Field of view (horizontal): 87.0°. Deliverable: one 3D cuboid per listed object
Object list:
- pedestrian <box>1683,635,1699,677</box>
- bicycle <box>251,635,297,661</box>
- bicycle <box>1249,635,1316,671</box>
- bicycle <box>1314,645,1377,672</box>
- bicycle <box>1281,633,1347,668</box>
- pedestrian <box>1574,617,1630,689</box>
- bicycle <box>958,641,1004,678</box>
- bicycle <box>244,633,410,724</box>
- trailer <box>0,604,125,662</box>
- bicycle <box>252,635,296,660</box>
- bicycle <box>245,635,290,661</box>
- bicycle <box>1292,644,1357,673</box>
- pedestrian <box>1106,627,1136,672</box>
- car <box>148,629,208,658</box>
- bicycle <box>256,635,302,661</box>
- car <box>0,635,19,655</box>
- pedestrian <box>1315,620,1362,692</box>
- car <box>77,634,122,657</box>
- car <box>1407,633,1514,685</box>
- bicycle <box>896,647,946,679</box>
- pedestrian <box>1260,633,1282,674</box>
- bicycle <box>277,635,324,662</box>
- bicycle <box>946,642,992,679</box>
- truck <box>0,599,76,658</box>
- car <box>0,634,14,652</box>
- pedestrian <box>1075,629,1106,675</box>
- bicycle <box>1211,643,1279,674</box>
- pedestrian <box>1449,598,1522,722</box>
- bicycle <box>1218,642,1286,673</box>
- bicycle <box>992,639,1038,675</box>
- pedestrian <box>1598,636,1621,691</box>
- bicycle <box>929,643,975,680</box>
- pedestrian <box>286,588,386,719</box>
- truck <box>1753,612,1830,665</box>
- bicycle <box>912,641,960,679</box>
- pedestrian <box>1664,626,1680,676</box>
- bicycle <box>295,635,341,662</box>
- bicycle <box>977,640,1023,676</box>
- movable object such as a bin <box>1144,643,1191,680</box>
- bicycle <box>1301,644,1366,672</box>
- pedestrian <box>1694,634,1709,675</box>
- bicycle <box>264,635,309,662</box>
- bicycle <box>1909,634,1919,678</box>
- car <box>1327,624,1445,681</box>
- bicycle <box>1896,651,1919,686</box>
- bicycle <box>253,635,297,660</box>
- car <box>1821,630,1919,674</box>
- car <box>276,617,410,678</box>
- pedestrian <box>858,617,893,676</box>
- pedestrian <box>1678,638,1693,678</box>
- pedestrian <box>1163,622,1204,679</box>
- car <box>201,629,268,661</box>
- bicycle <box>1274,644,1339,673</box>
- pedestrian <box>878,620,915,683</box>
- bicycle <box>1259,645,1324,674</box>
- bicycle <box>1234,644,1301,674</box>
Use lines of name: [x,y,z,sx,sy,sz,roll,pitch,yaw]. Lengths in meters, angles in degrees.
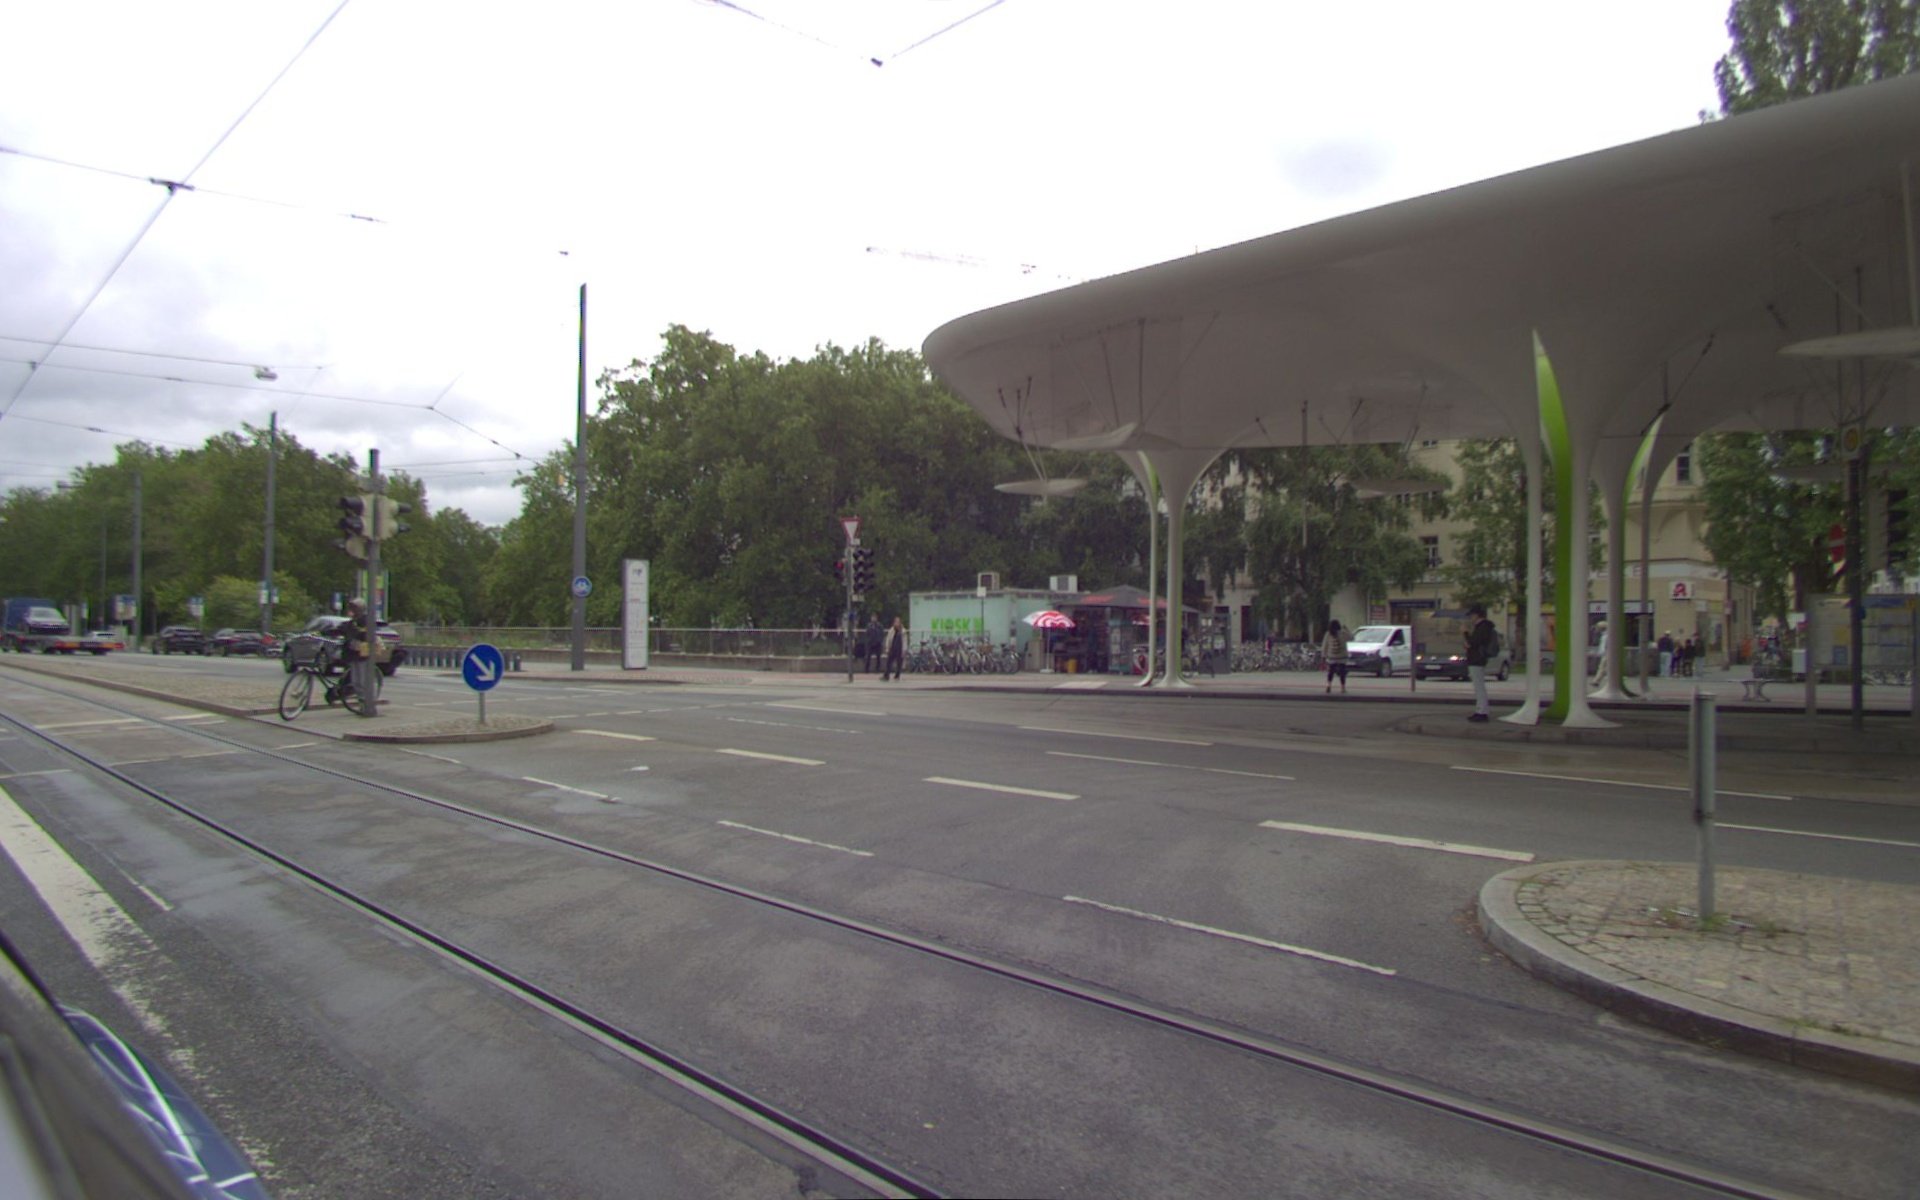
pedestrian: [29.514,2.244,40.867,0.457,1.638,0.575,-1,0,38]
bicycle: [-31.979,2.237,47.203,0.504,1.181,1.674,-1,-2,33]
bicycle: [13.093,2.137,41.205,2.562,1.432,0.627,-1,-2,42]
bicycle: [16.825,2.536,44.188,2.523,1.138,0.635,-1,-2,42]
bicycle: [14.847,2.094,42.543,2.562,1.432,0.627,-1,-2,42]
pedestrian: [18.624,1.522,29.369,0.987,2.029,1.030,1,-2,-33]
bicycle: [0.663,1.874,32.212,0.472,1.104,1.854,1,-2,-35]
bicycle: [-9.101,1.084,14.680,0.502,1.159,2.217,0,0,20]
trailer: [-47.529,1.736,53.200,15.624,2.703,2.584,-1,-4,39]
bicycle: [-33.068,2.274,48.788,0.561,1.181,1.672,-1,-2,38]
bicycle: [-32.553,2.250,47.603,0.504,1.181,1.673,-1,-2,34]
bicycle: [15.456,2.460,42.947,2.523,1.138,0.635,-1,-2,42]
pedestrian: [5.813,1.788,36.560,0.728,1.612,0.799,1,-2,-34]
car: [-44.933,2.485,58.126,4.099,1.582,1.973,-2,-2,41]
bicycle: [-31.519,2.226,46.841,0.560,1.181,1.675,-1,-2,31]
car: [-81.850,3.798,86.425,3.998,1.655,1.786,-2,-2,41]
pedestrian: [8.757,1.289,23.440,0.829,1.622,0.746,0,-2,6]
car: [-61.010,3.193,71.714,3.998,1.542,1.868,-2,-3,41]
car: [16.793,1.923,33.895,3.937,1.628,1.834,1,-2,-41]
bicycle: [-1.192,1.904,30.702,0.473,0.901,1.852,2,-2,-41]
pedestrian: [12.530,2.151,40.792,0.636,1.594,0.627,-1,-2,41]
bicycle: [-29.952,2.190,45.975,0.560,1.181,1.675,-1,-2,31]
bicycle: [0.262,1.884,31.883,0.472,1.104,1.854,1,-2,-35]
truck: [-53.089,1.649,57.824,7.683,3.111,2.540,-1,-4,39]
car: [-88.245,3.946,92.818,3.998,1.655,1.786,-2,-2,41]
pedestrian: [4.598,1.817,35.574,0.728,1.612,0.799,1,-2,-34]
bicycle: [10.951,2.232,38.957,2.523,1.138,0.635,-1,-2,42]
pedestrian: [8.037,0.905,15.512,0.802,1.853,0.663,0,-2,11]
bicycle: [11.374,2.236,39.476,2.523,1.138,0.635,-1,-2,42]
bicycle: [1.775,1.847,32.914,0.472,1.104,1.854,1,-2,-35]
pedestrian: [24.356,2.380,37.954,0.691,2.029,0.691,-1,-2,34]
bicycle: [-0.266,1.896,31.434,0.472,1.104,1.854,1,-2,-35]
pedestrian: [-8.998,0.748,14.609,0.888,1.825,0.857,0,0,13]
truck: [43.590,1.997,52.985,5.269,2.643,2.295,1,-2,-42]
bicycle: [-0.759,1.821,31.038,0.472,1.104,1.853,1,-2,-38]
pedestrian: [28.983,2.066,41.213,0.457,2.029,0.575,-1,0,38]
bicycle: [-28.849,2.164,45.474,0.560,1.181,1.675,-1,-2,31]
bicycle: [1.278,1.859,32.623,0.472,1.104,1.854,1,-2,-35]
movable object such as a bin: [6.471,1.913,31.548,0.956,1.092,1.320,-1,-2,38]
bicycle: [16.033,2.486,43.493,2.523,1.138,0.635,-1,-2,42]
pedestrian: [30.251,2.226,41.281,0.457,1.638,0.575,-1,0,38]
bicycle: [-30.782,2.209,46.270,0.504,1.181,1.675,-1,-2,31]
bicycle: [37.810,2.170,39.453,1.000,1.625,3.576,-1,-2,41]
car: [15.733,1.894,37.284,4.851,1.962,1.874,2,-2,-38]
bicycle: [34.127,2.418,35.921,2.639,1.143,0.741,1,-2,-34]
bicycle: [-32.719,2.254,48.355,0.505,1.181,1.672,-1,-2,37]
car: [42.256,2.323,45.946,4.802,1.934,1.972,-1,-2,41]
car: [-17.926,1.362,29.312,4.674,1.651,1.844,-1,-4,40]
pedestrian: [-2.556,1.395,30.618,0.725,1.729,0.862,1,-2,-38]
pedestrian: [29.949,2.377,41.768,0.458,1.602,0.517,-1,0,39]
pedestrian: [7.184,1.609,32.480,0.956,1.776,1.019,-1,-2,38]
car: [-37.106,2.274,51.714,4.231,1.537,1.840,-1,-3,41]
bicycle: [14.388,2.433,42.073,2.523,1.138,0.635,-1,-2,42]
pedestrian: [-1.655,1.336,26.521,0.737,1.641,0.734,-1,-2,20]
bicycle: [13.603,2.429,41.589,2.523,1.138,0.635,-1,-2,42]
bicycle: [12.180,2.317,40.201,2.523,1.138,0.635,-1,-2,42]
